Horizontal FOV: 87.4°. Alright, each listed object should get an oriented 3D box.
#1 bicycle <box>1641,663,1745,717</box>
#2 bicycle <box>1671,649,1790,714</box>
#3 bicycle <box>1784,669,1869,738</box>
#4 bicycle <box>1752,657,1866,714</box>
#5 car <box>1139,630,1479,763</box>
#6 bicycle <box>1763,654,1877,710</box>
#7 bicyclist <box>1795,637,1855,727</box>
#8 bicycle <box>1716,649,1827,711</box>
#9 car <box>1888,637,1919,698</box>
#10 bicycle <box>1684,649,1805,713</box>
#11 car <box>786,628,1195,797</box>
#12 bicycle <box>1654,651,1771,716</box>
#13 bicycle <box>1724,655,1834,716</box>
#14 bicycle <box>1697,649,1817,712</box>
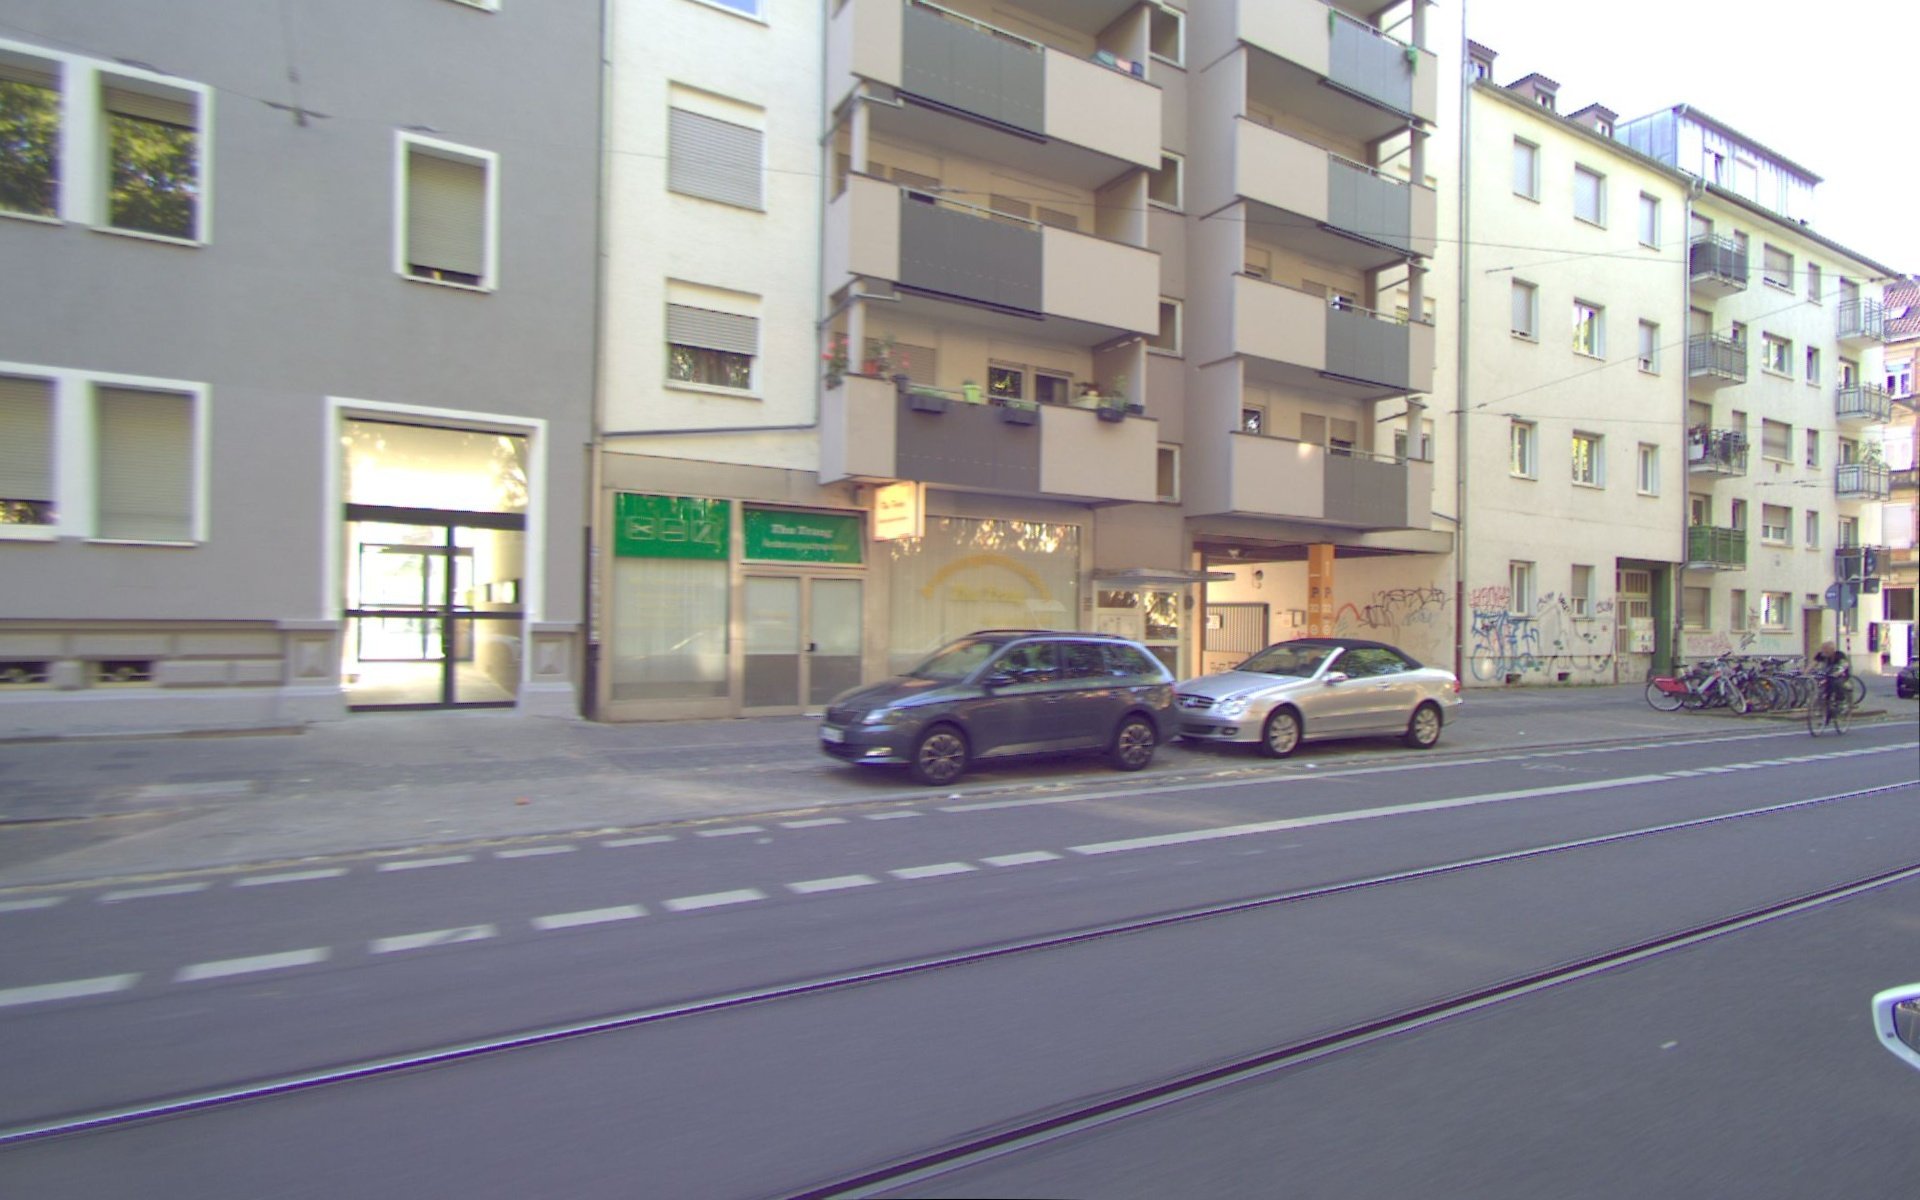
[{"bbox_3d":[14.345,1.742,19.683,1.601,0.929,0.400,1,0,44],"label":"bicycle"},{"bbox_3d":[15.444,1.606,20.189,0.433,1.134,1.926,1,0,-23],"label":"bicycle"},{"bbox_3d":[13.991,1.650,16.200,1.924,1.031,0.415,1,-3,-30],"label":"bicycle"},{"bbox_3d":[18.147,1.805,21.522,0.396,1.051,1.889,1,0,-23],"label":"bicycle"},{"bbox_3d":[4.763,1.179,13.483,4.672,1.510,1.682,1,-1,-30],"label":"car"},{"bbox_3d":[18.595,1.755,21.772,0.396,1.051,1.889,1,0,-23],"label":"bicycle"},{"bbox_3d":[13.916,1.302,16.160,0.701,1.412,0.506,1,-3,-31],"label":"bicyclist"},{"bbox_3d":[16.929,1.644,21.000,0.418,1.134,1.815,1,0,-23],"label":"bicycle"},{"bbox_3d":[25.629,1.701,25.513,4.516,1.475,1.711,1,-1,-29],"label":"car"},{"bbox_3d":[15.913,1.618,20.441,0.433,1.134,1.956,1,0,-23],"label":"bicycle"},{"bbox_3d":[0.406,1.077,10.964,4.193,1.510,1.784,1,-1,-32],"label":"car"},{"bbox_3d":[14.879,1.627,19.922,0.396,1.134,1.889,1,0,-23],"label":"bicycle"},{"bbox_3d":[17.195,1.768,21.133,0.418,1.134,1.785,1,0,-23],"label":"bicycle"},{"bbox_3d":[16.343,1.629,20.658,0.418,1.134,1.964,1,0,-23],"label":"bicycle"}]
